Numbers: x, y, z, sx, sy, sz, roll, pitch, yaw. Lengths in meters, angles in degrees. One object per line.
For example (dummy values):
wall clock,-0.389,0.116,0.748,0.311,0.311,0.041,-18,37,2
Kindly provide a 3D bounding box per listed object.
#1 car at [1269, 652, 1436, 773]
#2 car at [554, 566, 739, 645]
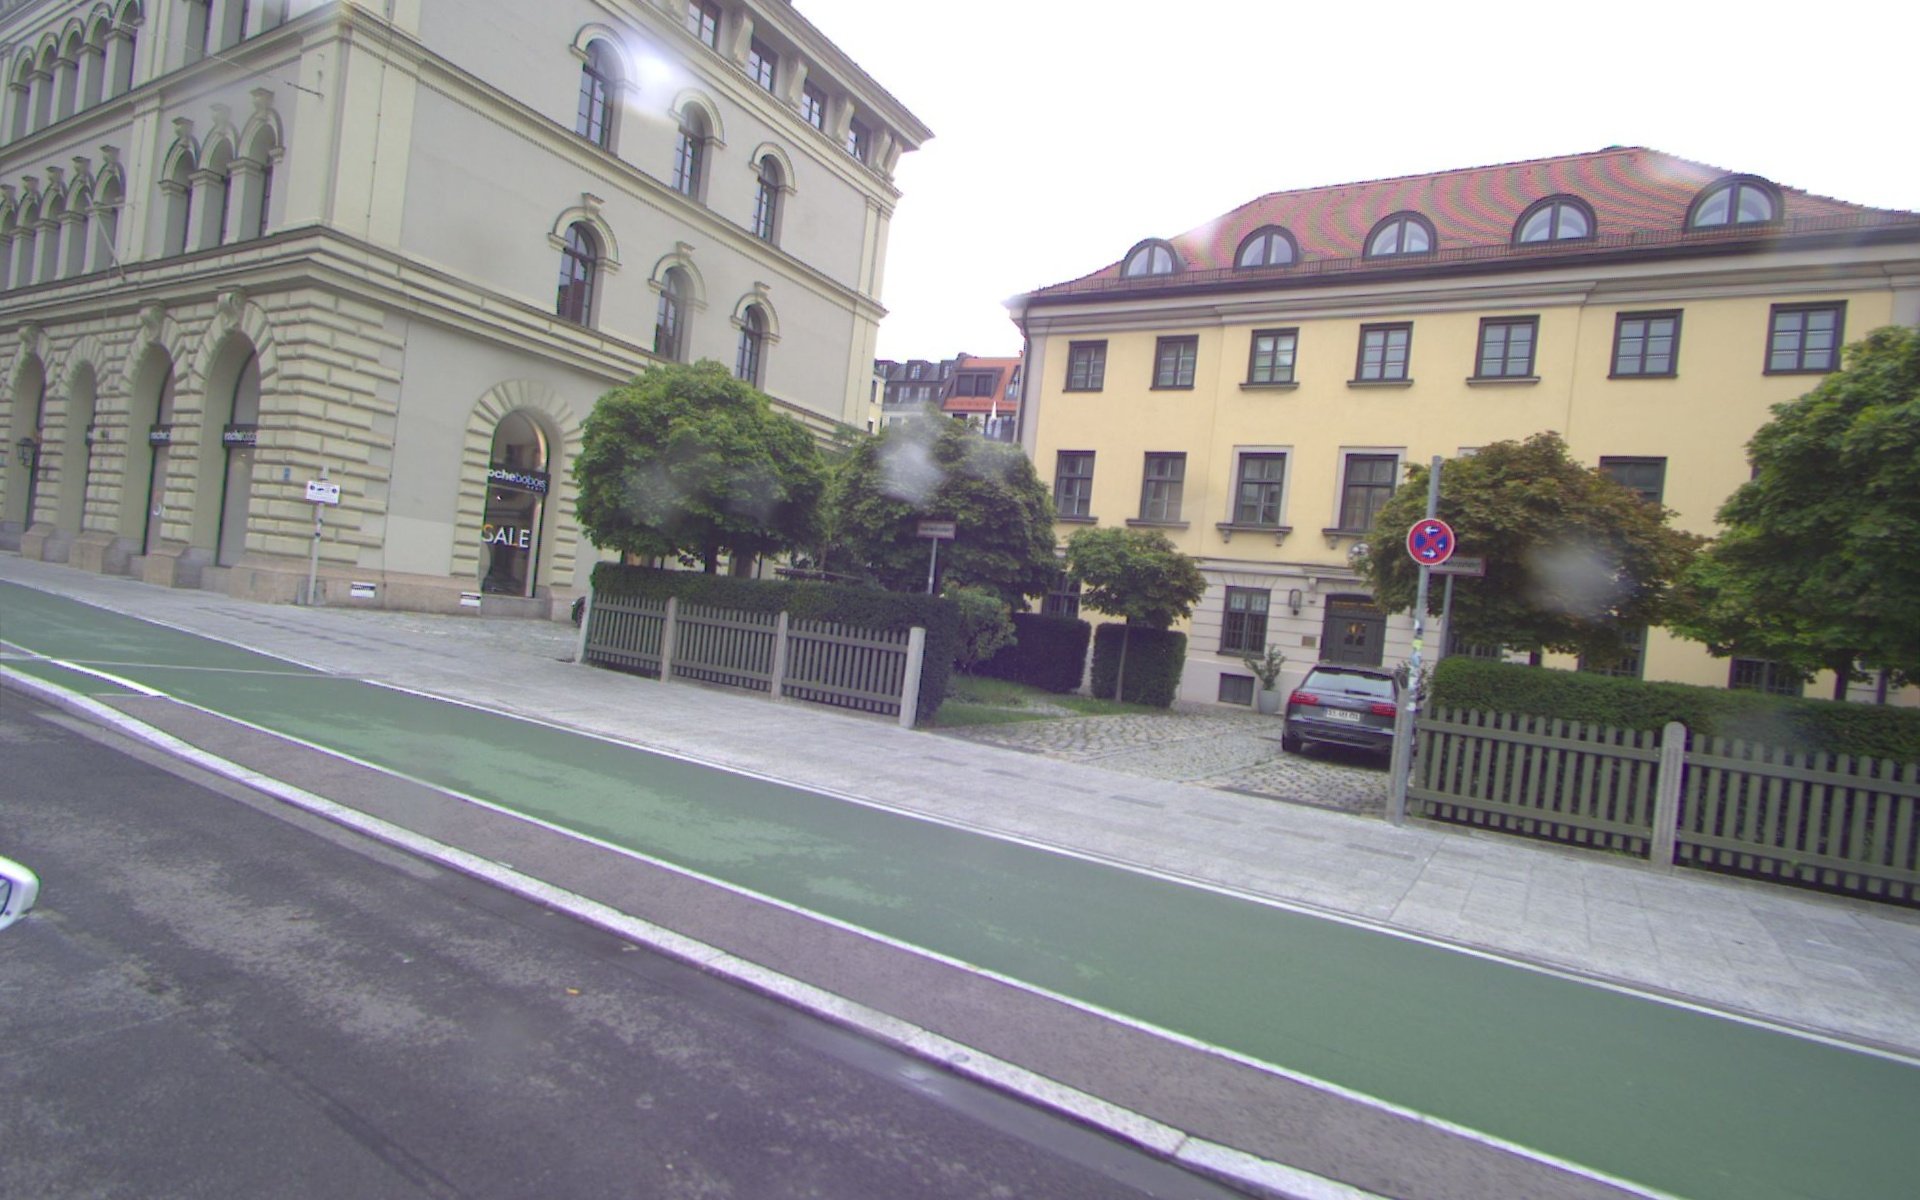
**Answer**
car,6.367,1.727,16.007,1.824,1.434,4.303,6,-1,29
car,-8.023,0.129,25.606,4.553,1.443,1.860,6,-1,31
